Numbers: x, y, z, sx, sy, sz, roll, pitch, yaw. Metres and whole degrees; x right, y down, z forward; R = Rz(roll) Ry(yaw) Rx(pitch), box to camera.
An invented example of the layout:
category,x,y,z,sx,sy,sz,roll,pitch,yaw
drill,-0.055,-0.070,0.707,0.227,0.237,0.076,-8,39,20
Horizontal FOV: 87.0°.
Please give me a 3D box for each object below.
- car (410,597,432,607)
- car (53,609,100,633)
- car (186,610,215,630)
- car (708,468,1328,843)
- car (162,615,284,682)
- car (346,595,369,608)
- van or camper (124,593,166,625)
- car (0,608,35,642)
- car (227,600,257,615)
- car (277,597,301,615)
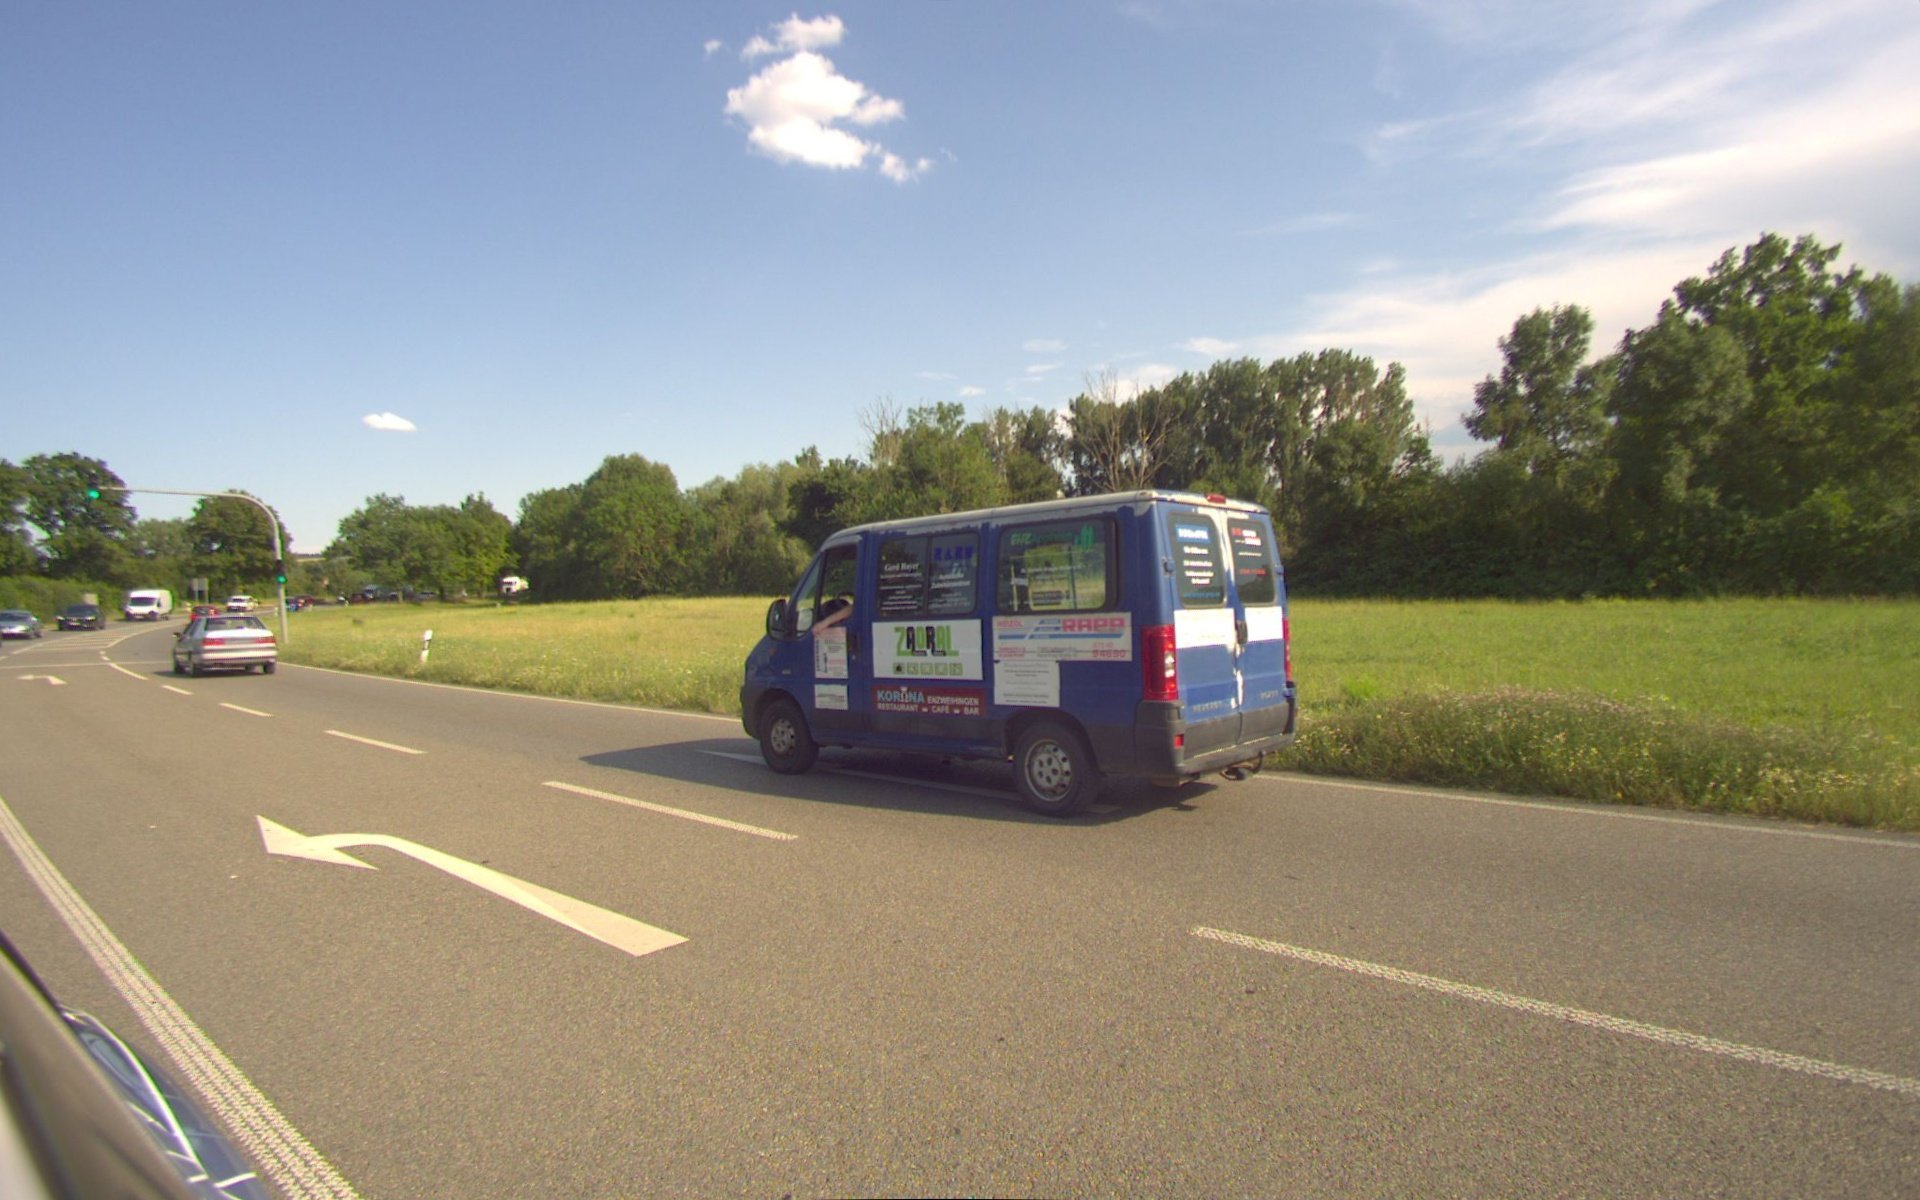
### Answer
category,x,y,z,sx,sy,sz,roll,pitch,yaw
car,-93.790,0.378,175.980,1.857,1.598,4.335,0,-1,-5
car,-55.458,1.302,63.578,1.581,1.490,3.627,1,-1,-31
car,-57.066,1.530,76.098,1.564,1.478,3.616,1,-1,-35
car,0.200,0.339,8.147,4.778,2.153,1.977,-1,0,42
car,-17.813,1.108,24.388,4.179,1.439,1.688,-1,0,44
car,-87.780,0.175,147.409,1.854,1.789,4.334,0,-1,-17
van or camper,-67.348,0.752,83.687,2.001,2.494,5.092,-3,1,-32
car,-47.458,1.234,50.442,1.609,1.570,3.425,1,1,-36
car,-80.188,0.797,113.087,1.646,1.490,3.505,-3,1,-17
car,-74.610,0.708,112.539,1.700,1.897,4.350,0,-1,-26
